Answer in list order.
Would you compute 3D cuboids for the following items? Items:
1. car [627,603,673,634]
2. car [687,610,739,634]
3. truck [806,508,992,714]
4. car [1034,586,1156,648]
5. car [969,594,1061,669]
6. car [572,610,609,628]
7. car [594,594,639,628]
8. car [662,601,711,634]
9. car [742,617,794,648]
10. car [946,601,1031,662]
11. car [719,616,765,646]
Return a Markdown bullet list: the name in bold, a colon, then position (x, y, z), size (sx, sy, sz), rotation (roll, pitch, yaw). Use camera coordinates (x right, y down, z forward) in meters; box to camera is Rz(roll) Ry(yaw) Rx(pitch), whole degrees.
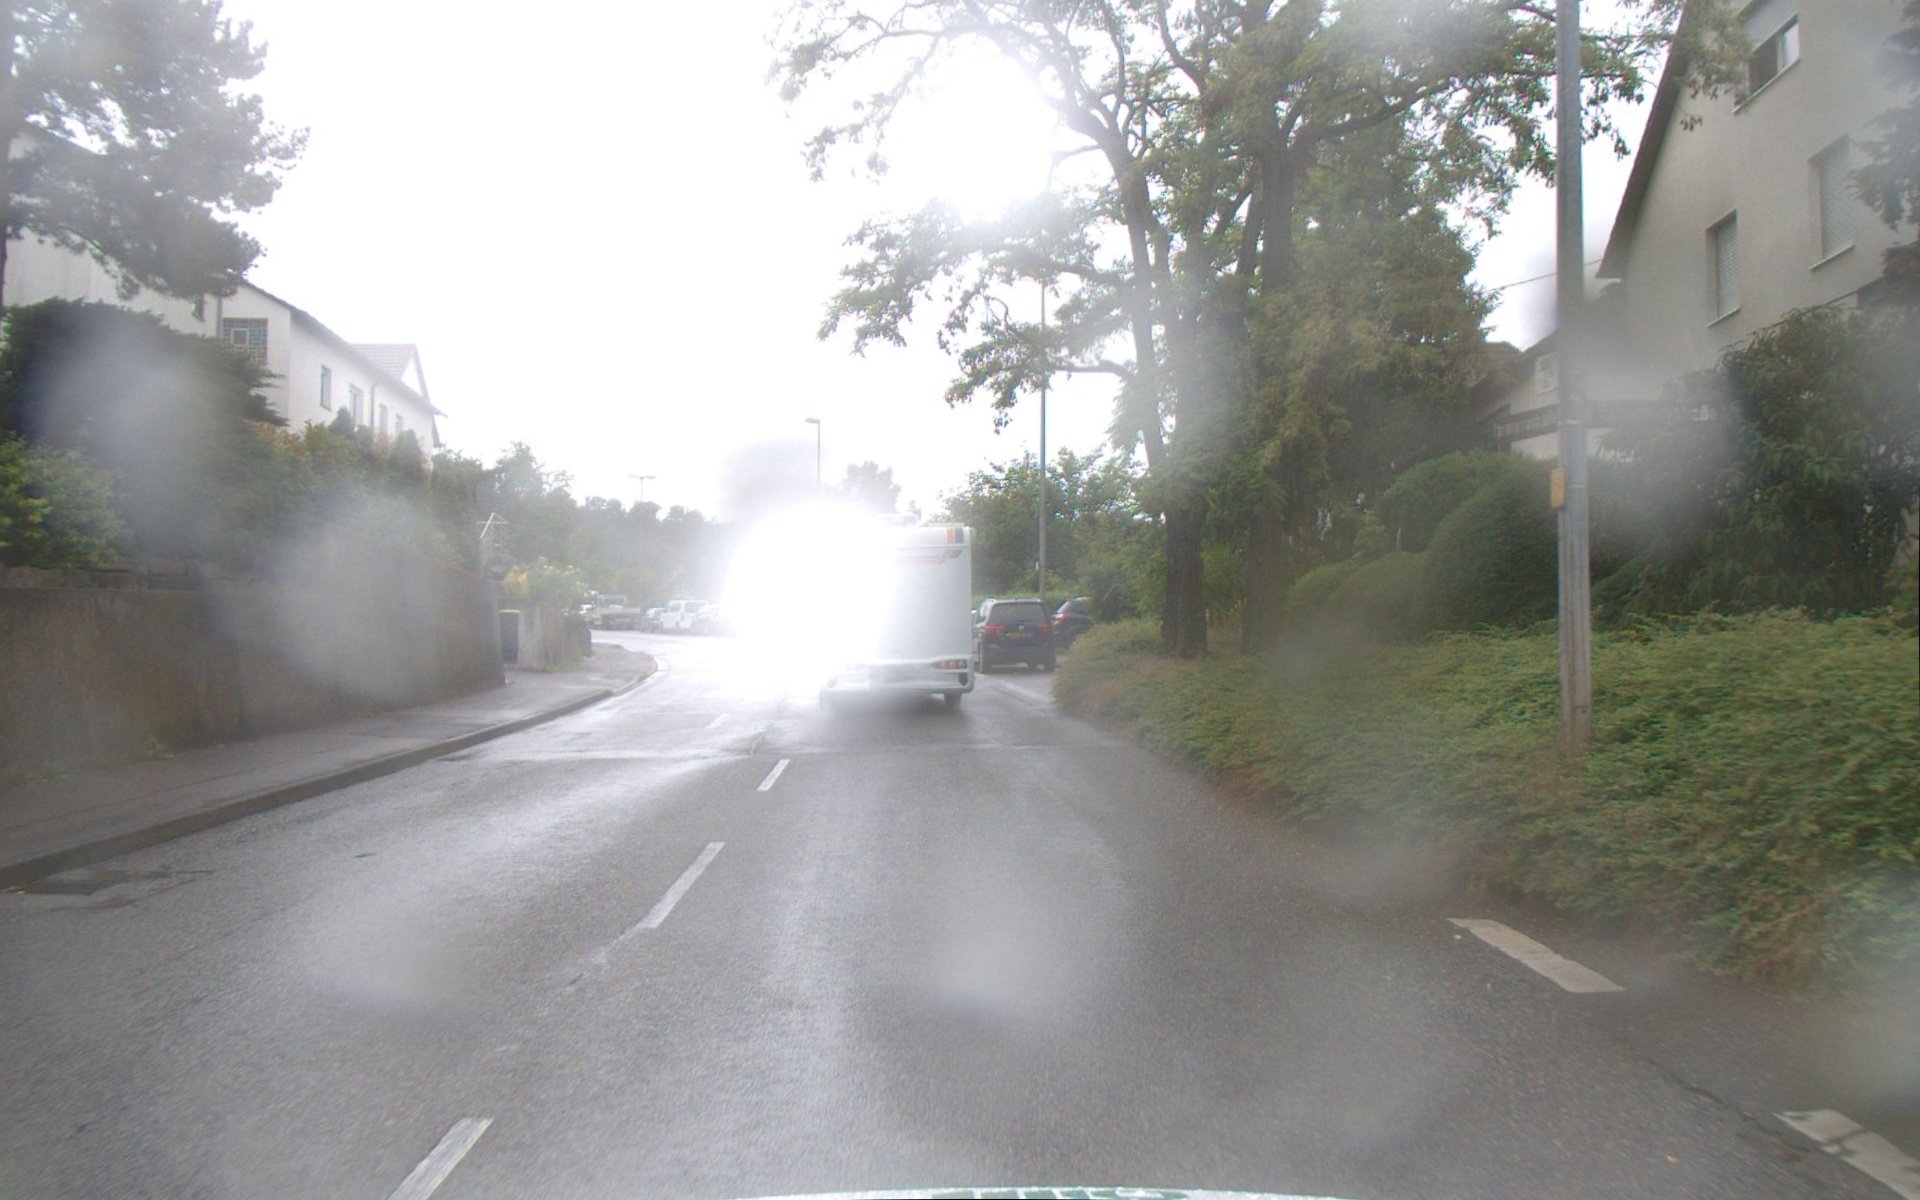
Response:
- **car**: position (-18.983, 1.146, 101.222), size (1.626, 1.751, 3.965), rotation (5, -4, -27)
- **car**: position (-13.639, 1.224, 91.262), size (1.626, 1.120, 3.965), rotation (5, -4, -27)
- **truck**: position (-1.139, 0.163, 26.353), size (2.467, 2.867, 6.192), rotation (-1, 0, -7)
- **car**: position (4.322, 0.562, 53.124), size (3.554, 1.693, 1.997), rotation (4, -3, -5)
- **car**: position (1.252, 0.720, 39.100), size (1.953, 1.669, 3.999), rotation (1, 0, -1)
- **car**: position (-26.591, 1.374, 119.092), size (1.626, 1.120, 3.965), rotation (5, -4, -27)
- **car**: position (-23.331, 0.783, 112.236), size (1.719, 2.080, 4.474), rotation (5, -4, -27)
- **car**: position (-15.893, 1.035, 95.937), size (1.626, 1.751, 3.965), rotation (5, -4, -27)
- **car**: position (-9.442, 1.622, 81.113), size (1.518, 1.350, 3.839), rotation (5, -3, -21)
- **car**: position (0.722, 0.839, 44.697), size (1.819, 1.544, 3.995), rotation (1, -1, -6)
- **car**: position (-11.320, 1.630, 85.731), size (1.517, 1.350, 3.977), rotation (4, -3, -19)
